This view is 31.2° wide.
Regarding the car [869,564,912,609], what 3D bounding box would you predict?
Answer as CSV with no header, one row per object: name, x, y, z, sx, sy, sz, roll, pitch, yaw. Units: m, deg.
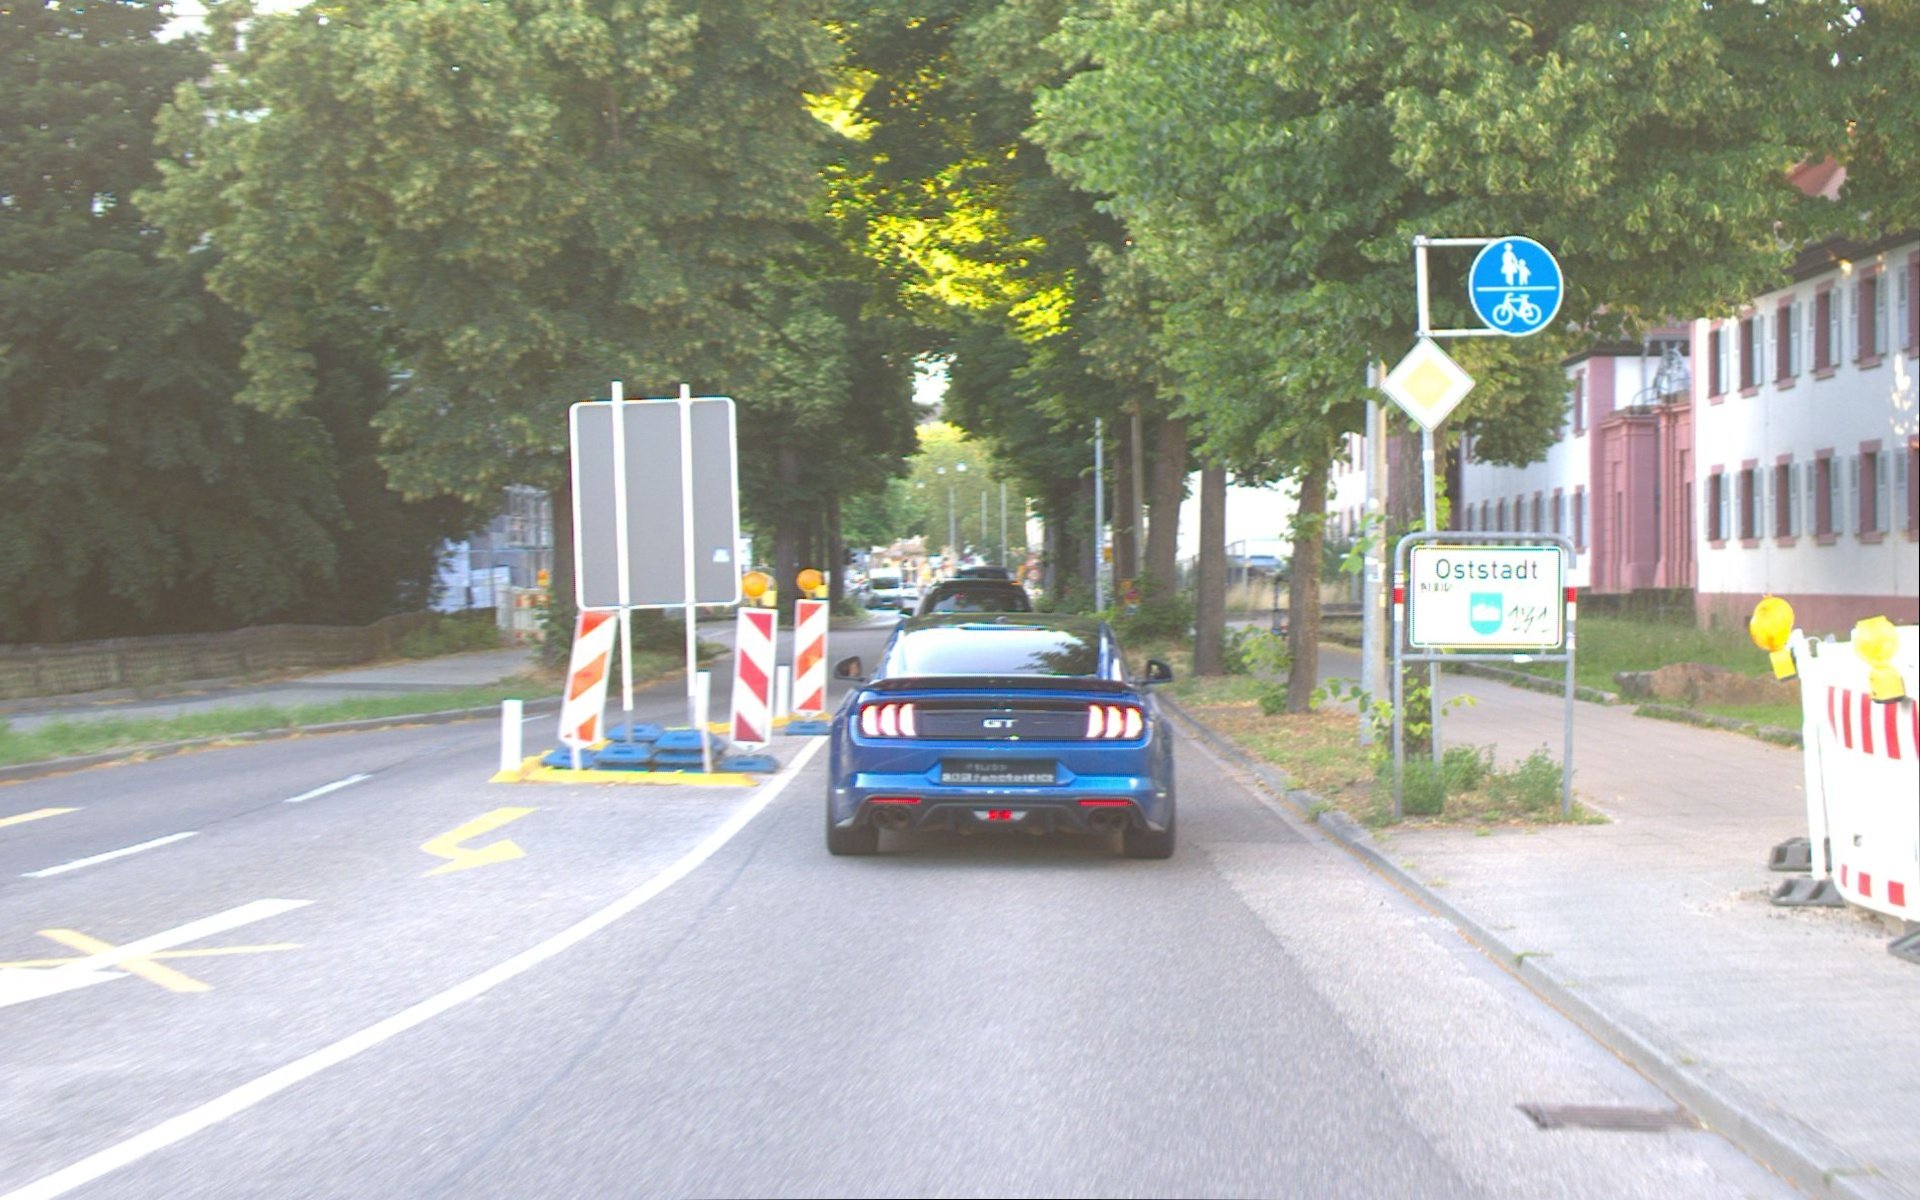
car,-4.210,-0.852,209.953,2.492,2.688,5.830,-1,0,0

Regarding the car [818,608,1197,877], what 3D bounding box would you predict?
car,0.252,0.749,19.983,1.947,1.322,4.000,1,0,0

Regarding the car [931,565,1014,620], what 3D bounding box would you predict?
car,0.348,-0.197,87.292,1.947,1.322,4.000,1,0,2

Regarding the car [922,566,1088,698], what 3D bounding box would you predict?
car,0.611,0.363,42.964,1.947,1.522,4.000,1,0,2
